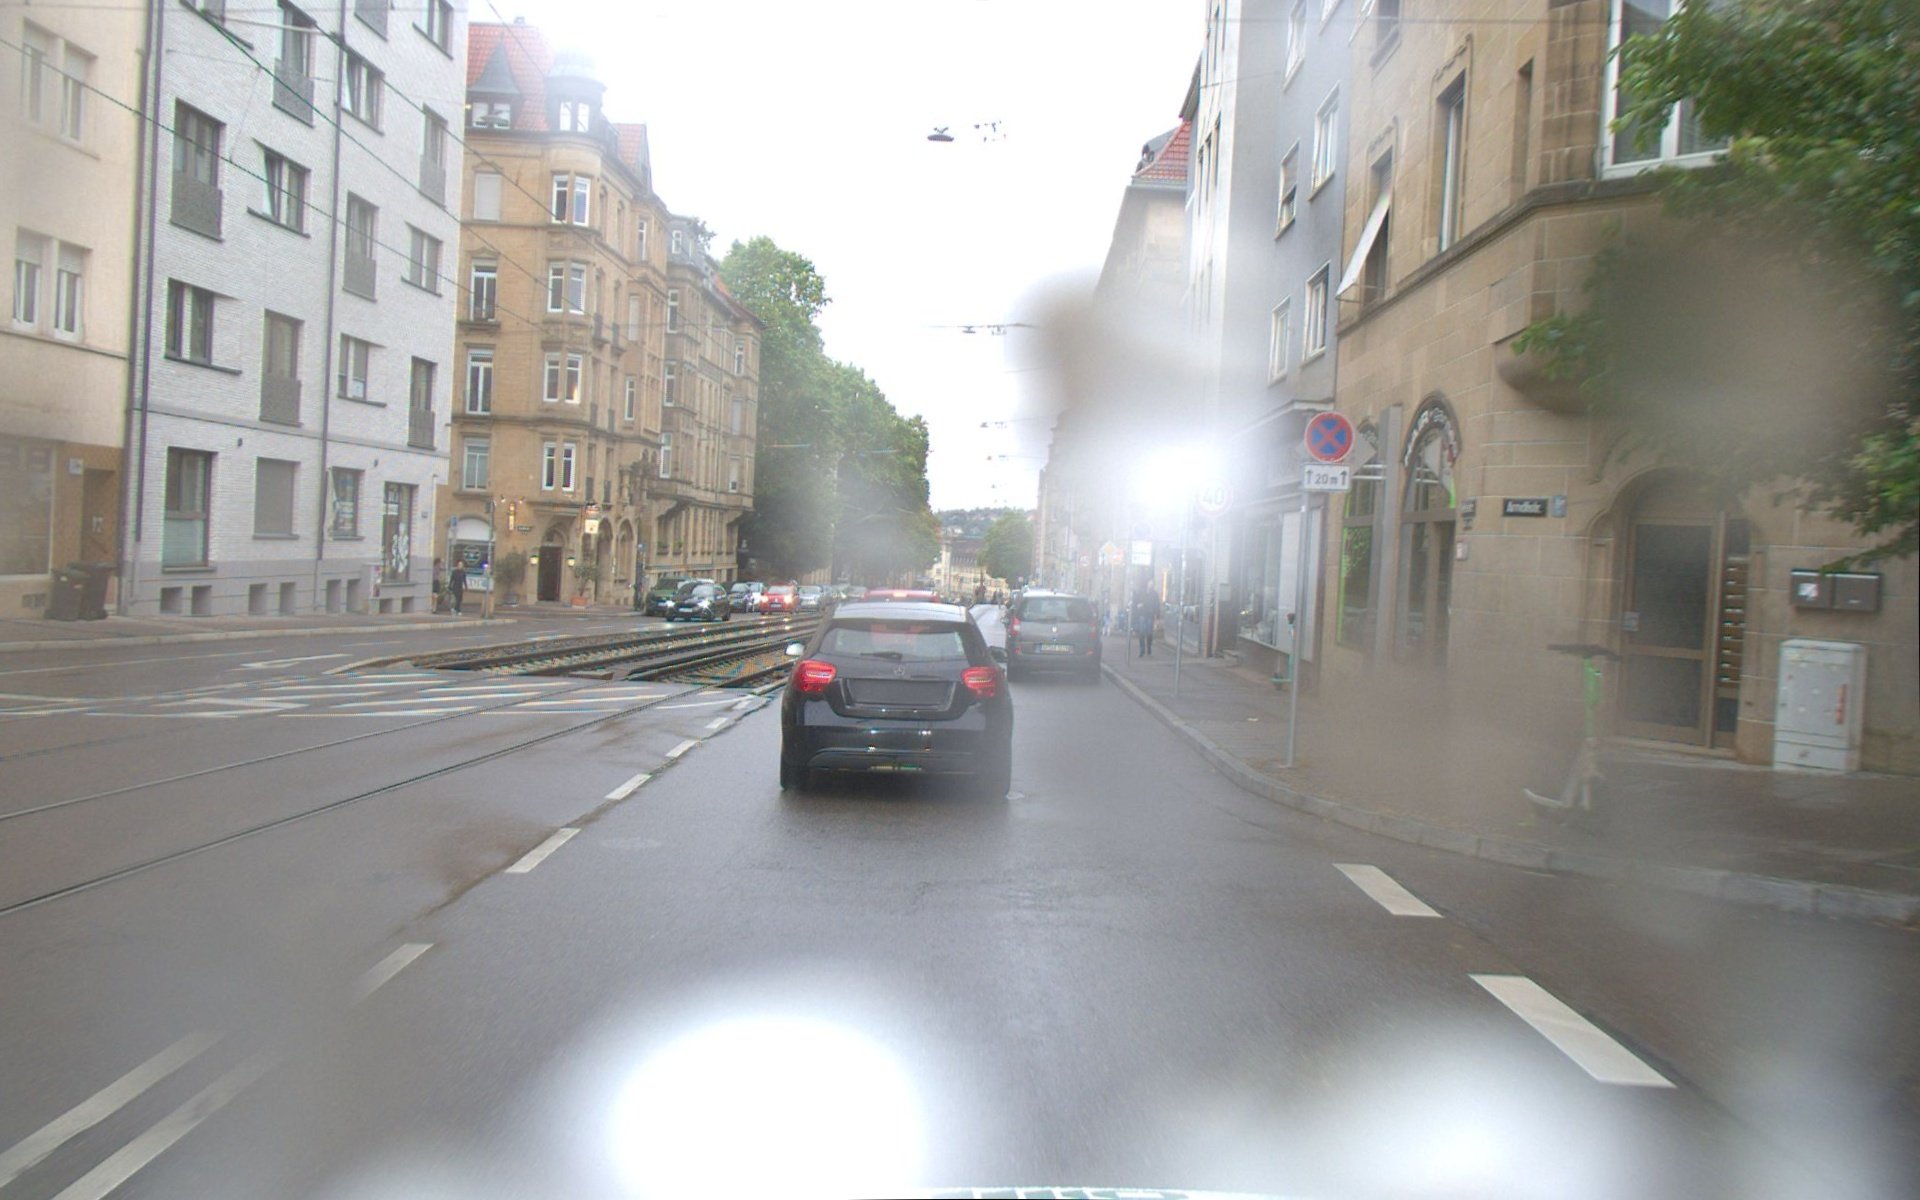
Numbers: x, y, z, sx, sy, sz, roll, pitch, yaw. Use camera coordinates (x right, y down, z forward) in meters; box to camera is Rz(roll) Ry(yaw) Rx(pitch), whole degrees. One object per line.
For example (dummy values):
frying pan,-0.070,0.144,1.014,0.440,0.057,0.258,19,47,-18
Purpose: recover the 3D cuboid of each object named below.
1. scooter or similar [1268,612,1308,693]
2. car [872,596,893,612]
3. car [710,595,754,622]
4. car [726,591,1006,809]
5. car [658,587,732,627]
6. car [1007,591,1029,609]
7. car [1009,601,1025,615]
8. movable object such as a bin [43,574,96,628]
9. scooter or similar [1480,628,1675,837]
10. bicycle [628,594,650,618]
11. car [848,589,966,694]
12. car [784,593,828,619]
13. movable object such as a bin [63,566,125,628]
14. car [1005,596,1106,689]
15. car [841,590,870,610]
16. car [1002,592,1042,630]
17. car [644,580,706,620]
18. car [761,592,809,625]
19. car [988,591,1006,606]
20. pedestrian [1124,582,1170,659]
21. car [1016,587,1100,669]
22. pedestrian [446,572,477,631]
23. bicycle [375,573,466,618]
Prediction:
scooter or similar,5.225,0.828,26.381,0.387,1.237,1.107,2,0,0
car,-6.999,0.361,149.272,1.536,1.438,3.482,1,0,3
car,-11.666,0.430,84.689,1.536,1.339,3.482,1,0,3
car,-0.615,0.701,13.735,1.827,1.477,4.002,2,0,3
car,-9.850,0.248,61.706,1.908,1.421,4.275,1,0,2
car,4.411,-0.003,126.058,1.580,1.340,4.001,2,0,2
car,6.289,0.874,182.946,1.580,1.340,4.001,4,0,2
movable object such as a bin,-16.411,0.019,30.501,0.581,0.926,0.560,6,0,1
scooter or similar,4.024,0.824,10.893,0.625,1.231,1.552,1,0,-3
bicycle,-13.755,0.259,70.897,0.586,1.018,2.078,1,0,-3
car,-0.779,0.607,26.564,1.615,1.477,4.001,3,0,1
car,-8.589,0.314,92.814,1.769,1.384,4.765,1,0,3
movable object such as a bin,-16.303,-0.057,31.144,0.698,1.092,0.687,6,0,1
car,1.752,0.754,31.407,1.729,1.586,4.746,2,0,2
car,-7.592,0.009,120.207,1.659,1.413,3.482,1,0,3
car,2.606,0.461,69.788,1.588,1.511,4.001,2,0,2
car,-11.942,-0.004,69.607,1.686,1.568,3.935,1,0,3
car,-8.491,0.385,80.542,1.645,1.523,3.521,1,0,5
car,3.483,-0.133,155.555,1.580,1.340,4.001,2,0,2
pedestrian,4.495,0.482,39.819,0.926,1.800,1.015,2,0,0
car,2.167,0.593,37.388,1.648,1.699,4.123,1,0,1
pedestrian,-15.648,0.042,51.903,0.627,1.818,0.923,1,-2,1
bicycle,-20.646,-0.169,63.395,3.089,1.612,1.594,2,0,-10
